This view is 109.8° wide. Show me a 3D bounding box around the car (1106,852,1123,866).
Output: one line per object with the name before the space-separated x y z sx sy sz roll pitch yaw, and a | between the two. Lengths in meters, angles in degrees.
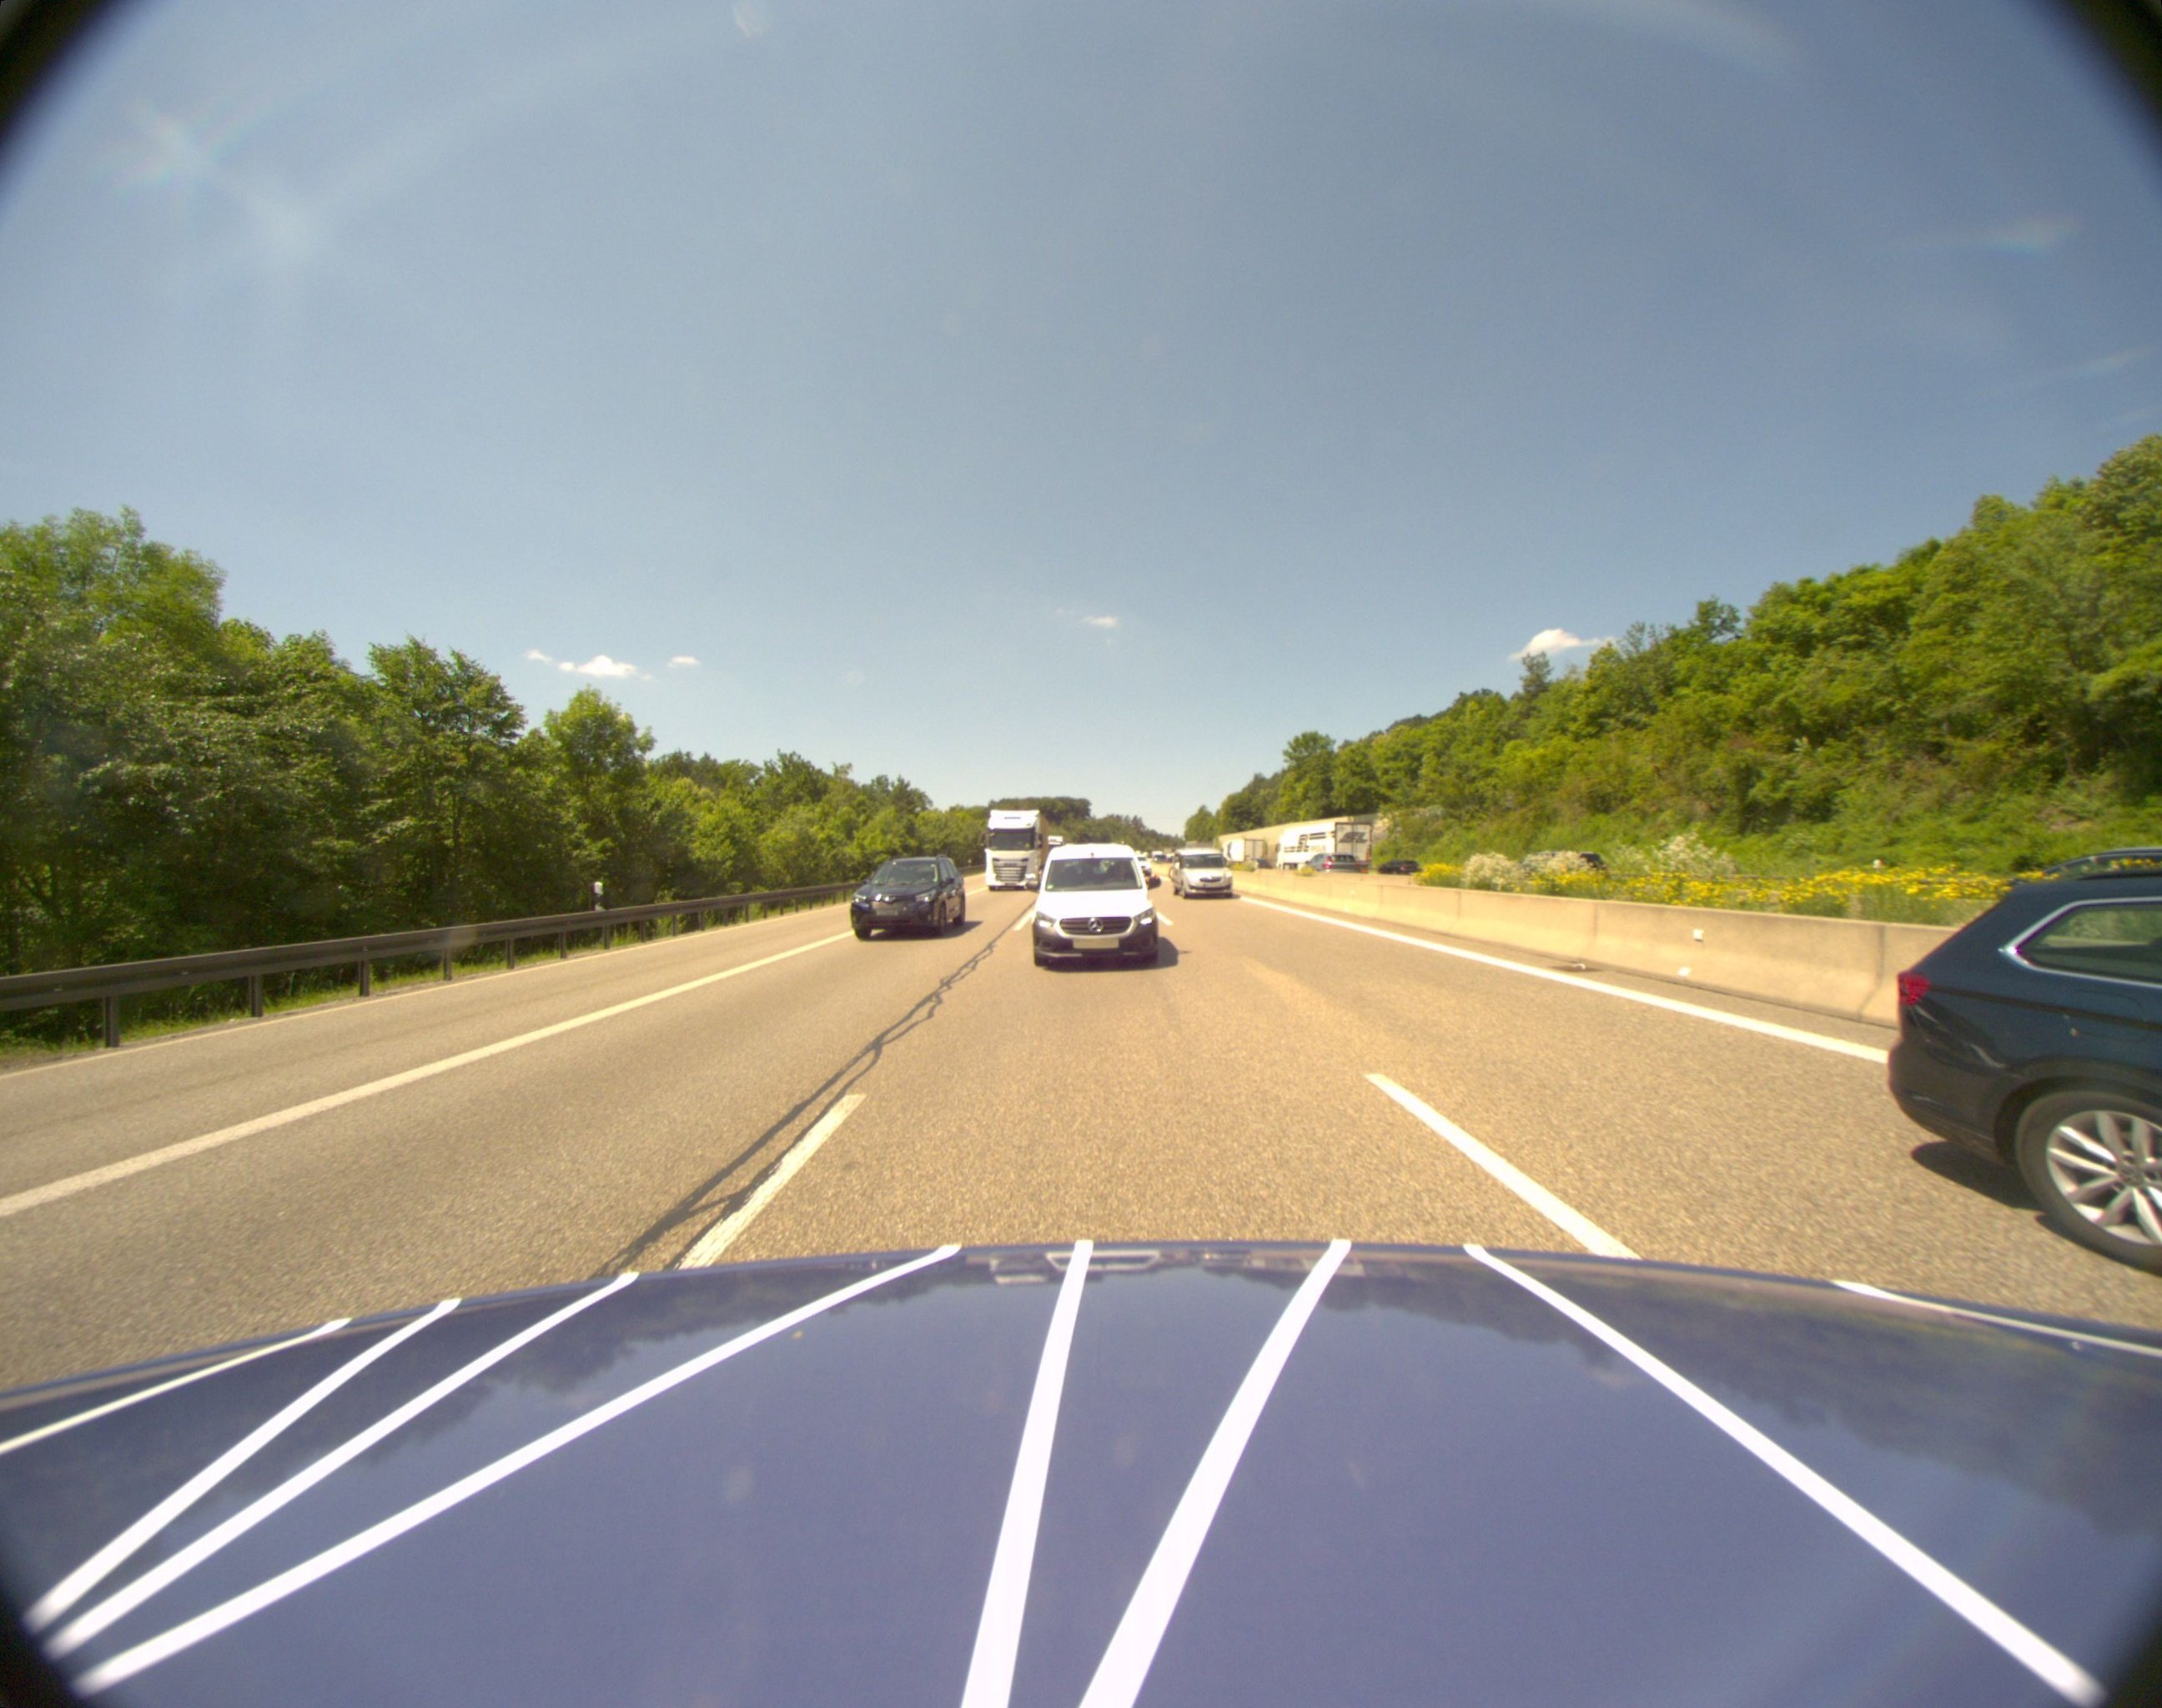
car | 4.450 0.631 101.932 1.998 1.783 4.000 -2 0 0

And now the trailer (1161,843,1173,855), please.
trailer | 28.596 -1.802 253.132 2.819 3.886 13.827 1 1 2

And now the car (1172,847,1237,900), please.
car | 4.492 0.664 28.174 1.780 1.833 4.000 -1 0 1

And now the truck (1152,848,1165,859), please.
truck | 20.608 -0.154 202.508 2.534 2.673 11.627 1 1 1

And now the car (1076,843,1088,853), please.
car | 0.323 -1.442 186.899 2.721 2.534 5.941 1 1 3

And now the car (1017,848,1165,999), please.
car | 0.188 0.834 11.244 1.729 1.760 4.313 -1 0 2

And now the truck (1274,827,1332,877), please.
truck | 19.106 -0.201 65.906 2.810 4.141 7.598 0 1 0

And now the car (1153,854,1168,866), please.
car | 12.712 0.957 121.701 1.916 1.836 5.035 1 1 0

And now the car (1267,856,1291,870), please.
car | 22.666 1.017 87.066 1.671 1.458 4.190 0 0 0

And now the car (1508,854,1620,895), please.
car | 17.458 0.703 27.708 1.567 1.358 4.000 0 0 0

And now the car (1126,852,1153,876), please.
car | 4.510 0.740 58.960 1.998 1.827 4.001 1 0 3

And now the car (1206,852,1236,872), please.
car | 13.203 0.749 71.855 1.888 1.746 4.787 1 1 0

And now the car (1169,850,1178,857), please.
car | 25.705 -0.132 210.847 1.998 2.002 4.000 -1 0 1

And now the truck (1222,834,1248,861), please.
truck | 23.029 -0.986 113.719 2.814 4.024 5.084 1 1 0

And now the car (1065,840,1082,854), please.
car | -1.416 -1.339 145.304 2.721 2.534 5.941 1 1 3

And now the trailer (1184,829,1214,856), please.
trailer | 19.514 -1.900 126.675 2.842 4.141 14.737 1 1 1

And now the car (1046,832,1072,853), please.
car | -2.744 -1.457 96.344 2.721 2.534 5.941 1 1 3

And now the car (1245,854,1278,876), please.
car | 15.795 0.957 66.833 1.789 1.766 4.730 1 1 0

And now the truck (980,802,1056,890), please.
truck | -3.292 -0.404 44.727 2.790 4.144 16.267 -2 0 1

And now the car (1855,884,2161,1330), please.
car | 4.392 0.856 1.102 1.737 1.419 4.730 0 0 1

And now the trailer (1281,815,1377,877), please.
trailer | 19.099 -0.665 59.903 2.810 4.313 14.033 0 1 -1

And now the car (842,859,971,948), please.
car | -3.731 0.985 17.004 1.816 1.658 4.203 -2 0 1

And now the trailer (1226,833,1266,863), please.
trailer | 23.085 -0.848 107.004 2.814 4.024 12.624 1 1 0

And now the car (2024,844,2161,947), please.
car | 15.097 0.544 9.532 1.567 1.358 4.000 0 0 0

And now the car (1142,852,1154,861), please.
car | 13.392 0.464 151.743 1.999 1.783 3.999 -1 0 -1

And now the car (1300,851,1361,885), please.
car | 11.716 0.617 35.939 1.567 1.510 4.000 0 0 0
